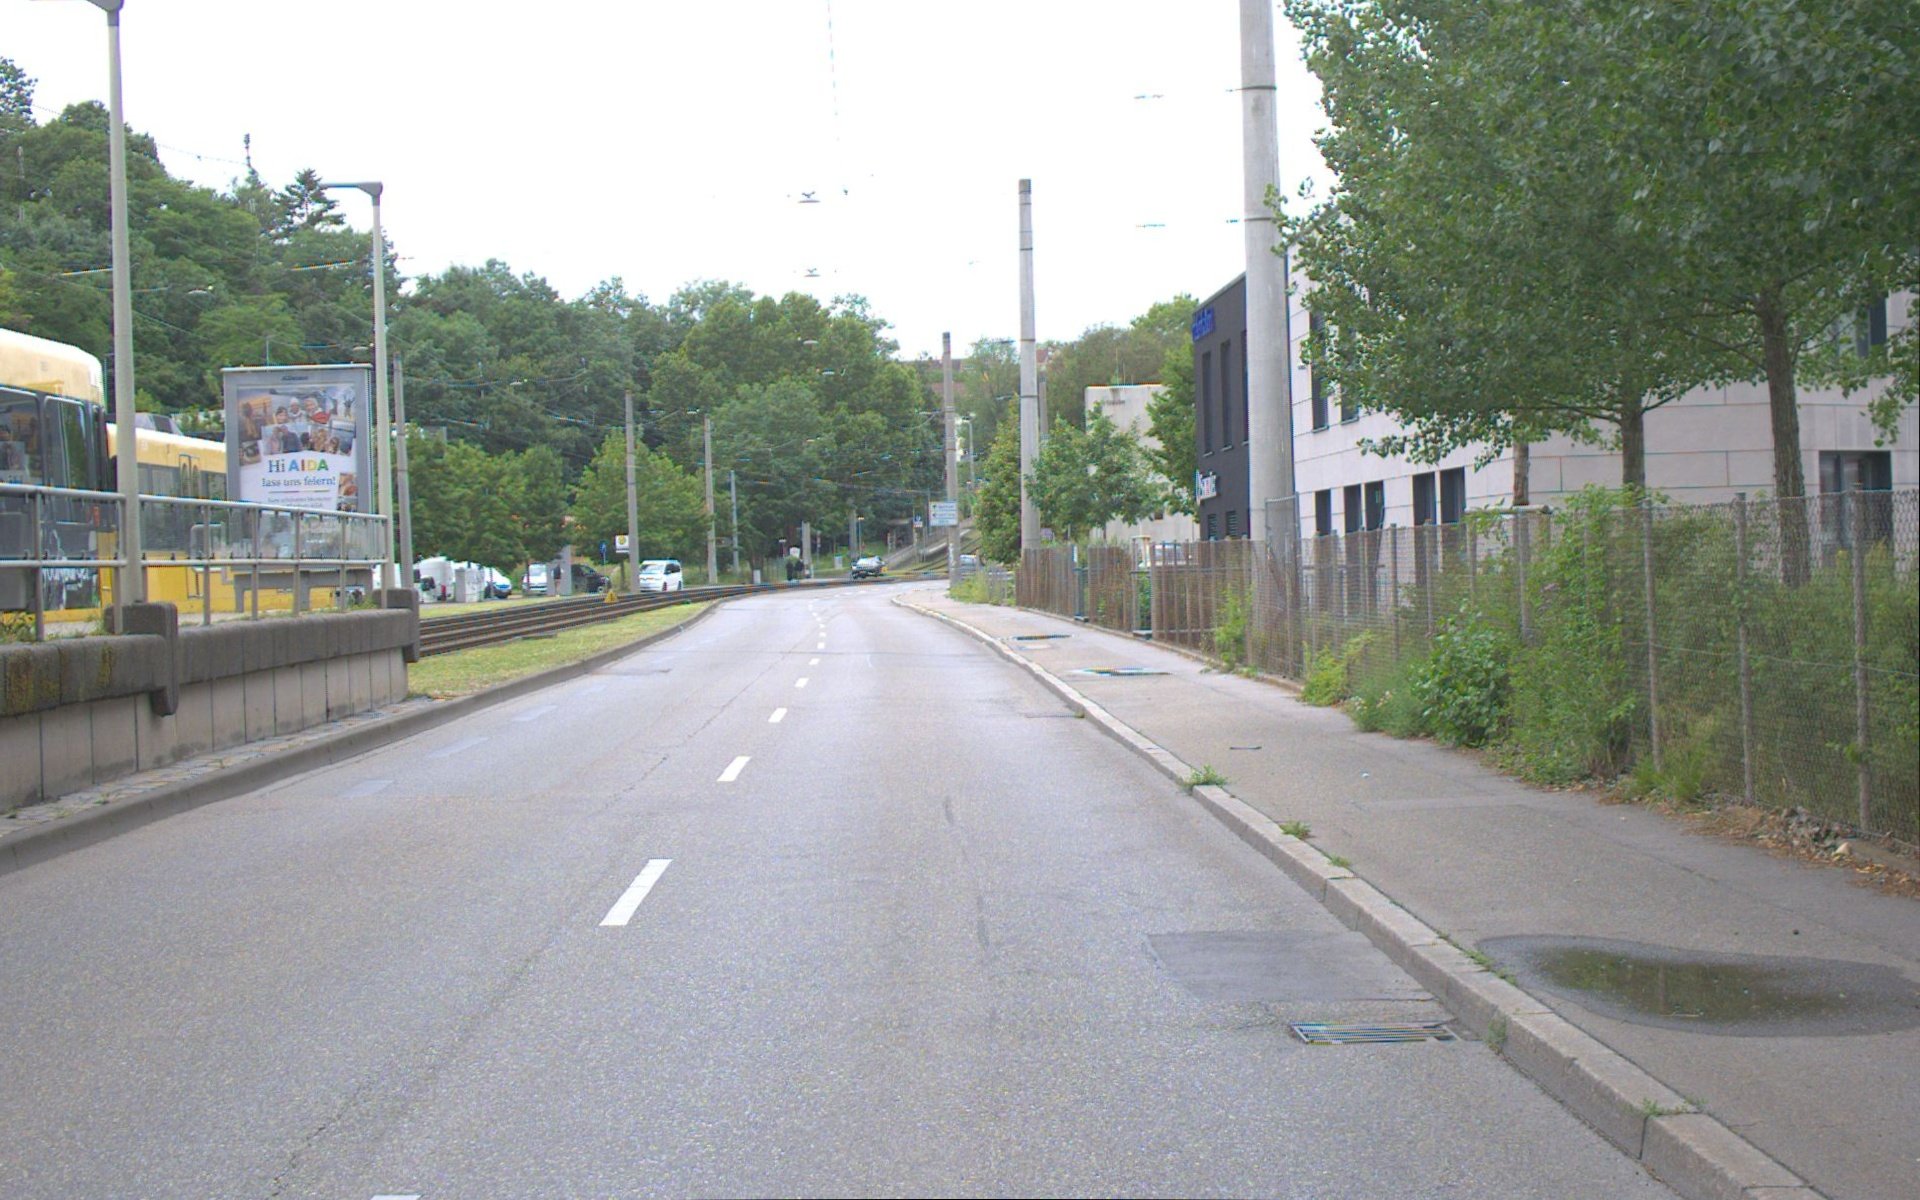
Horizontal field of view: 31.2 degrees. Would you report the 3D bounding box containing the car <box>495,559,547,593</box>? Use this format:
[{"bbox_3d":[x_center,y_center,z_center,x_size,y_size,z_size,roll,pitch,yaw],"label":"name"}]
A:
[{"bbox_3d":[-25.494,-1.392,199.750,1.828,1.700,4.141,-2,-3,9],"label":"car"}]

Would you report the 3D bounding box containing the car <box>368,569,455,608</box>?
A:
[{"bbox_3d":[-27.688,-0.586,173.504,3.987,1.700,1.833,-2,-3,5],"label":"car"}]

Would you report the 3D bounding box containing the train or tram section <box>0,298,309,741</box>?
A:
[{"bbox_3d":[-9.362,-0.829,36.789,2.971,4.051,10.197,-2,1,-1],"label":"train or tram section"}]

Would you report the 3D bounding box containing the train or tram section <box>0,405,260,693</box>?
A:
[{"bbox_3d":[-12.192,-0.693,50.409,1.993,3.783,9.179,-2,0,-1],"label":"train or tram section"}]

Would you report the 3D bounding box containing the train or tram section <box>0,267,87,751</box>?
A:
[{"bbox_3d":[-9.122,-0.646,24.844,2.740,3.953,11.913,-2,1,-1],"label":"train or tram section"}]
